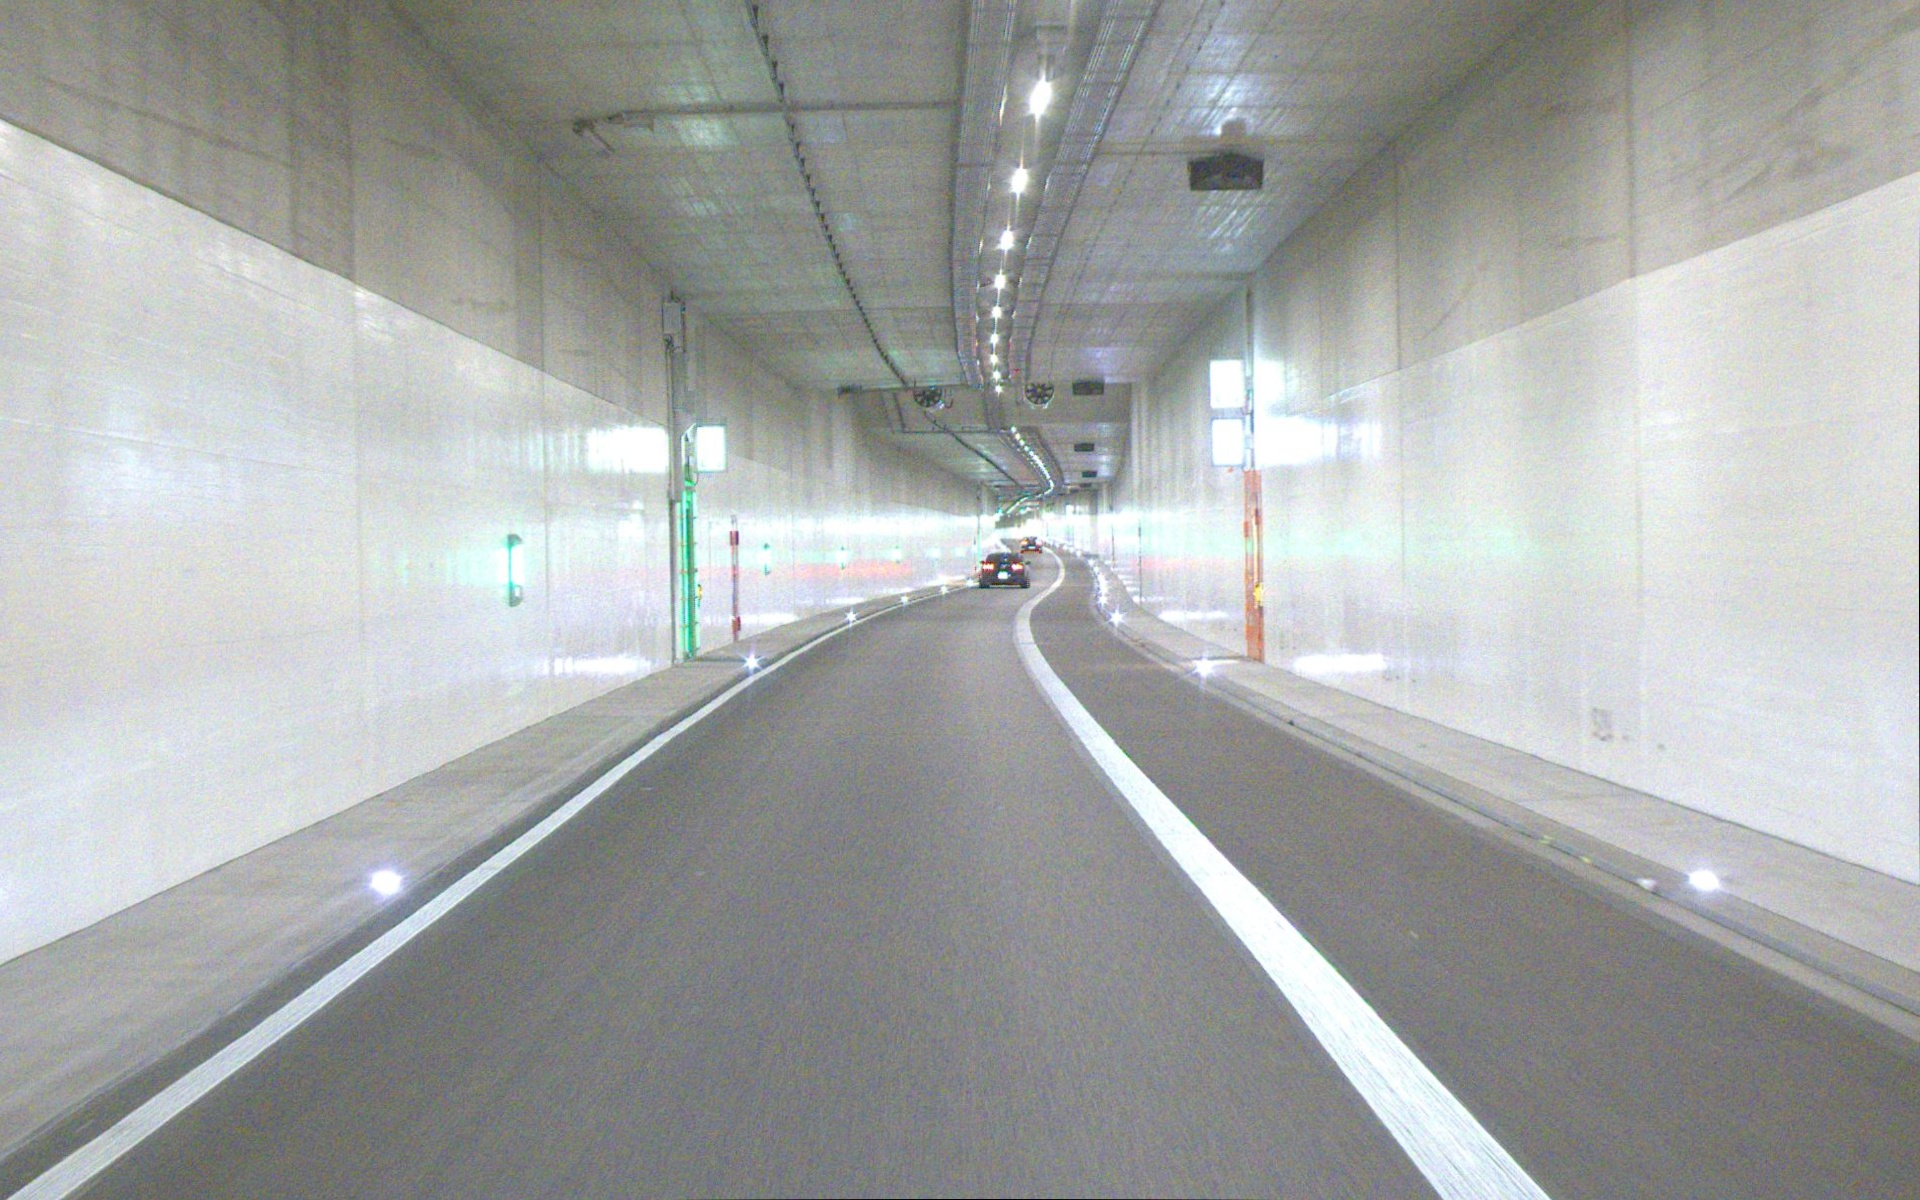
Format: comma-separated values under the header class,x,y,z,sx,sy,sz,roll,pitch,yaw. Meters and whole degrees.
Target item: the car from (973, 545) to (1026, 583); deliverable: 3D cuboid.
class,x,y,z,sx,sy,sz,roll,pitch,yaw
car,1.507,-1.389,133.099,1.993,1.415,4.000,0,1,0
